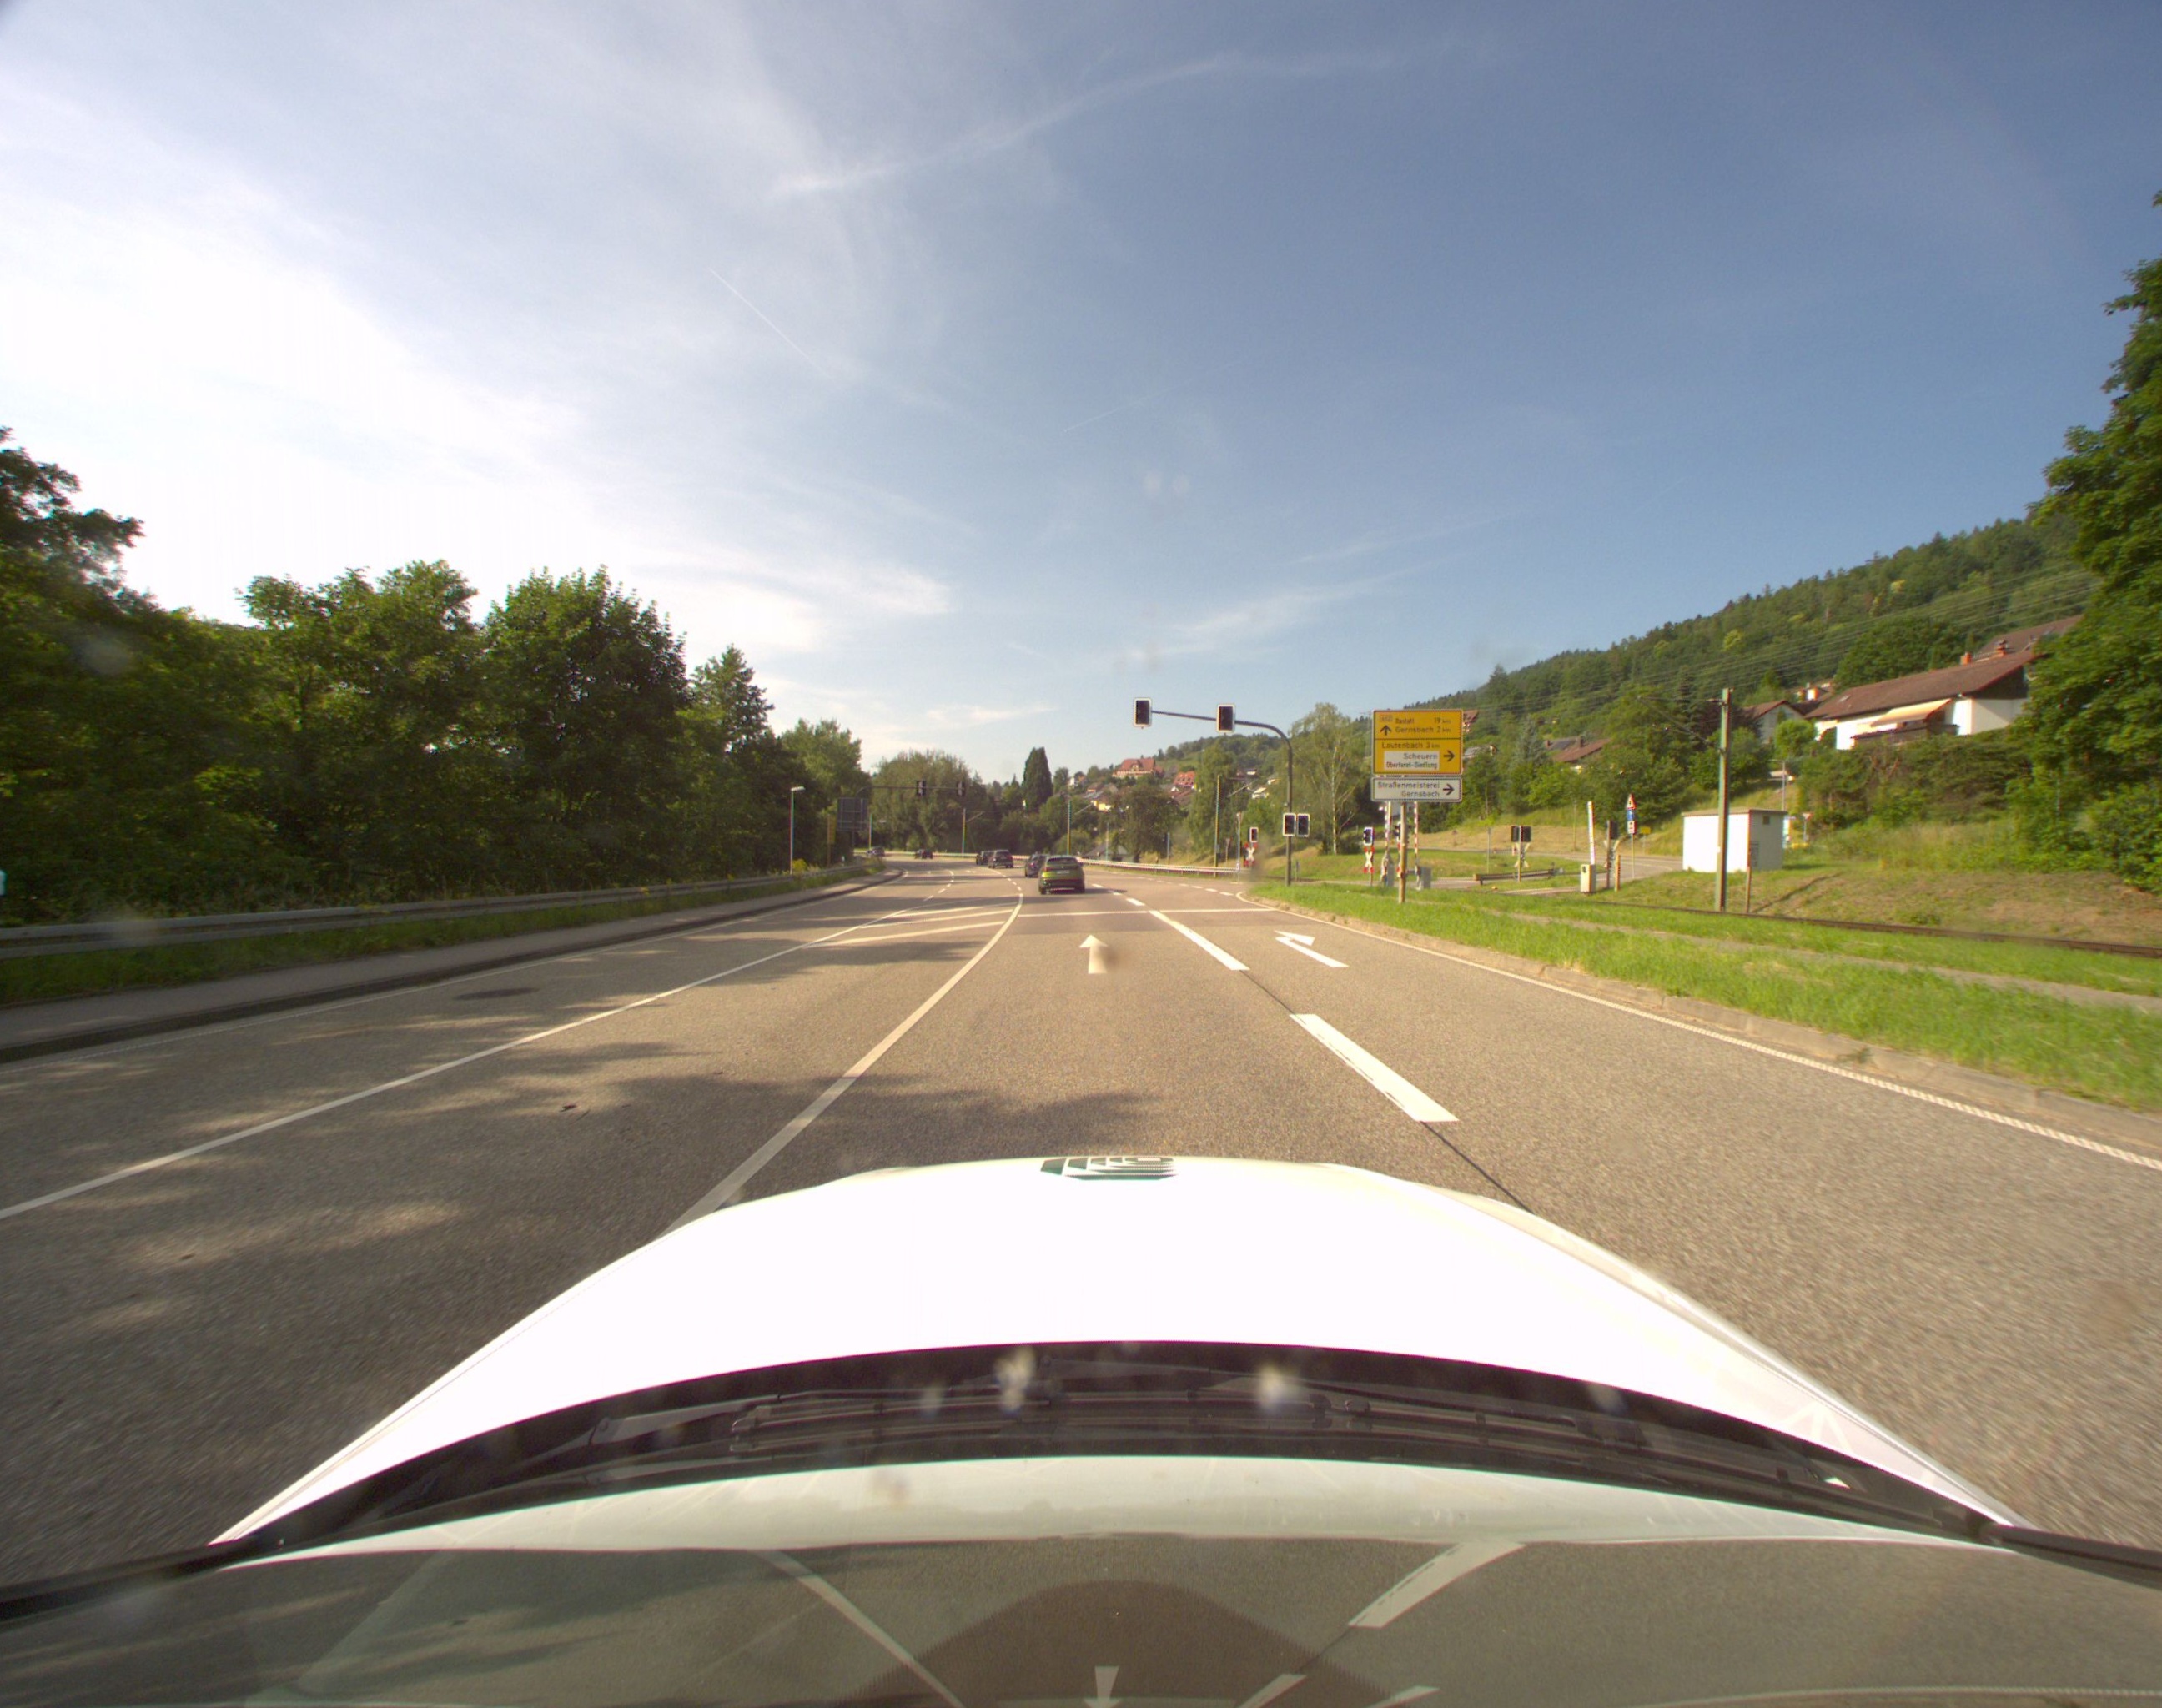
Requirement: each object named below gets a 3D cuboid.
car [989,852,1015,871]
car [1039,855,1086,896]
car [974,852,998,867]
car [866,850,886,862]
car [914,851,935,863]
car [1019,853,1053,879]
[{"bbox_3d":[-7.188,0.631,73.539,1.881,1.686,3.983,0,0,-12],"label":"car"},{"bbox_3d":[-0.712,0.809,32.562,1.709,1.455,3.998,-2,0,-1],"label":"car"},{"bbox_3d":[-10.177,0.552,86.902,1.854,1.527,3.640,0,1,-18],"label":"car"},{"bbox_3d":[-34.049,0.345,135.370,2.078,1.811,3.959,-1,1,-33],"label":"car"},{"bbox_3d":[-22.635,0.416,117.484,2.004,1.745,3.966,0,0,-26],"label":"car"},{"bbox_3d":[-2.828,0.717,50.410,1.667,1.559,3.986,-1,0,-10],"label":"car"}]
